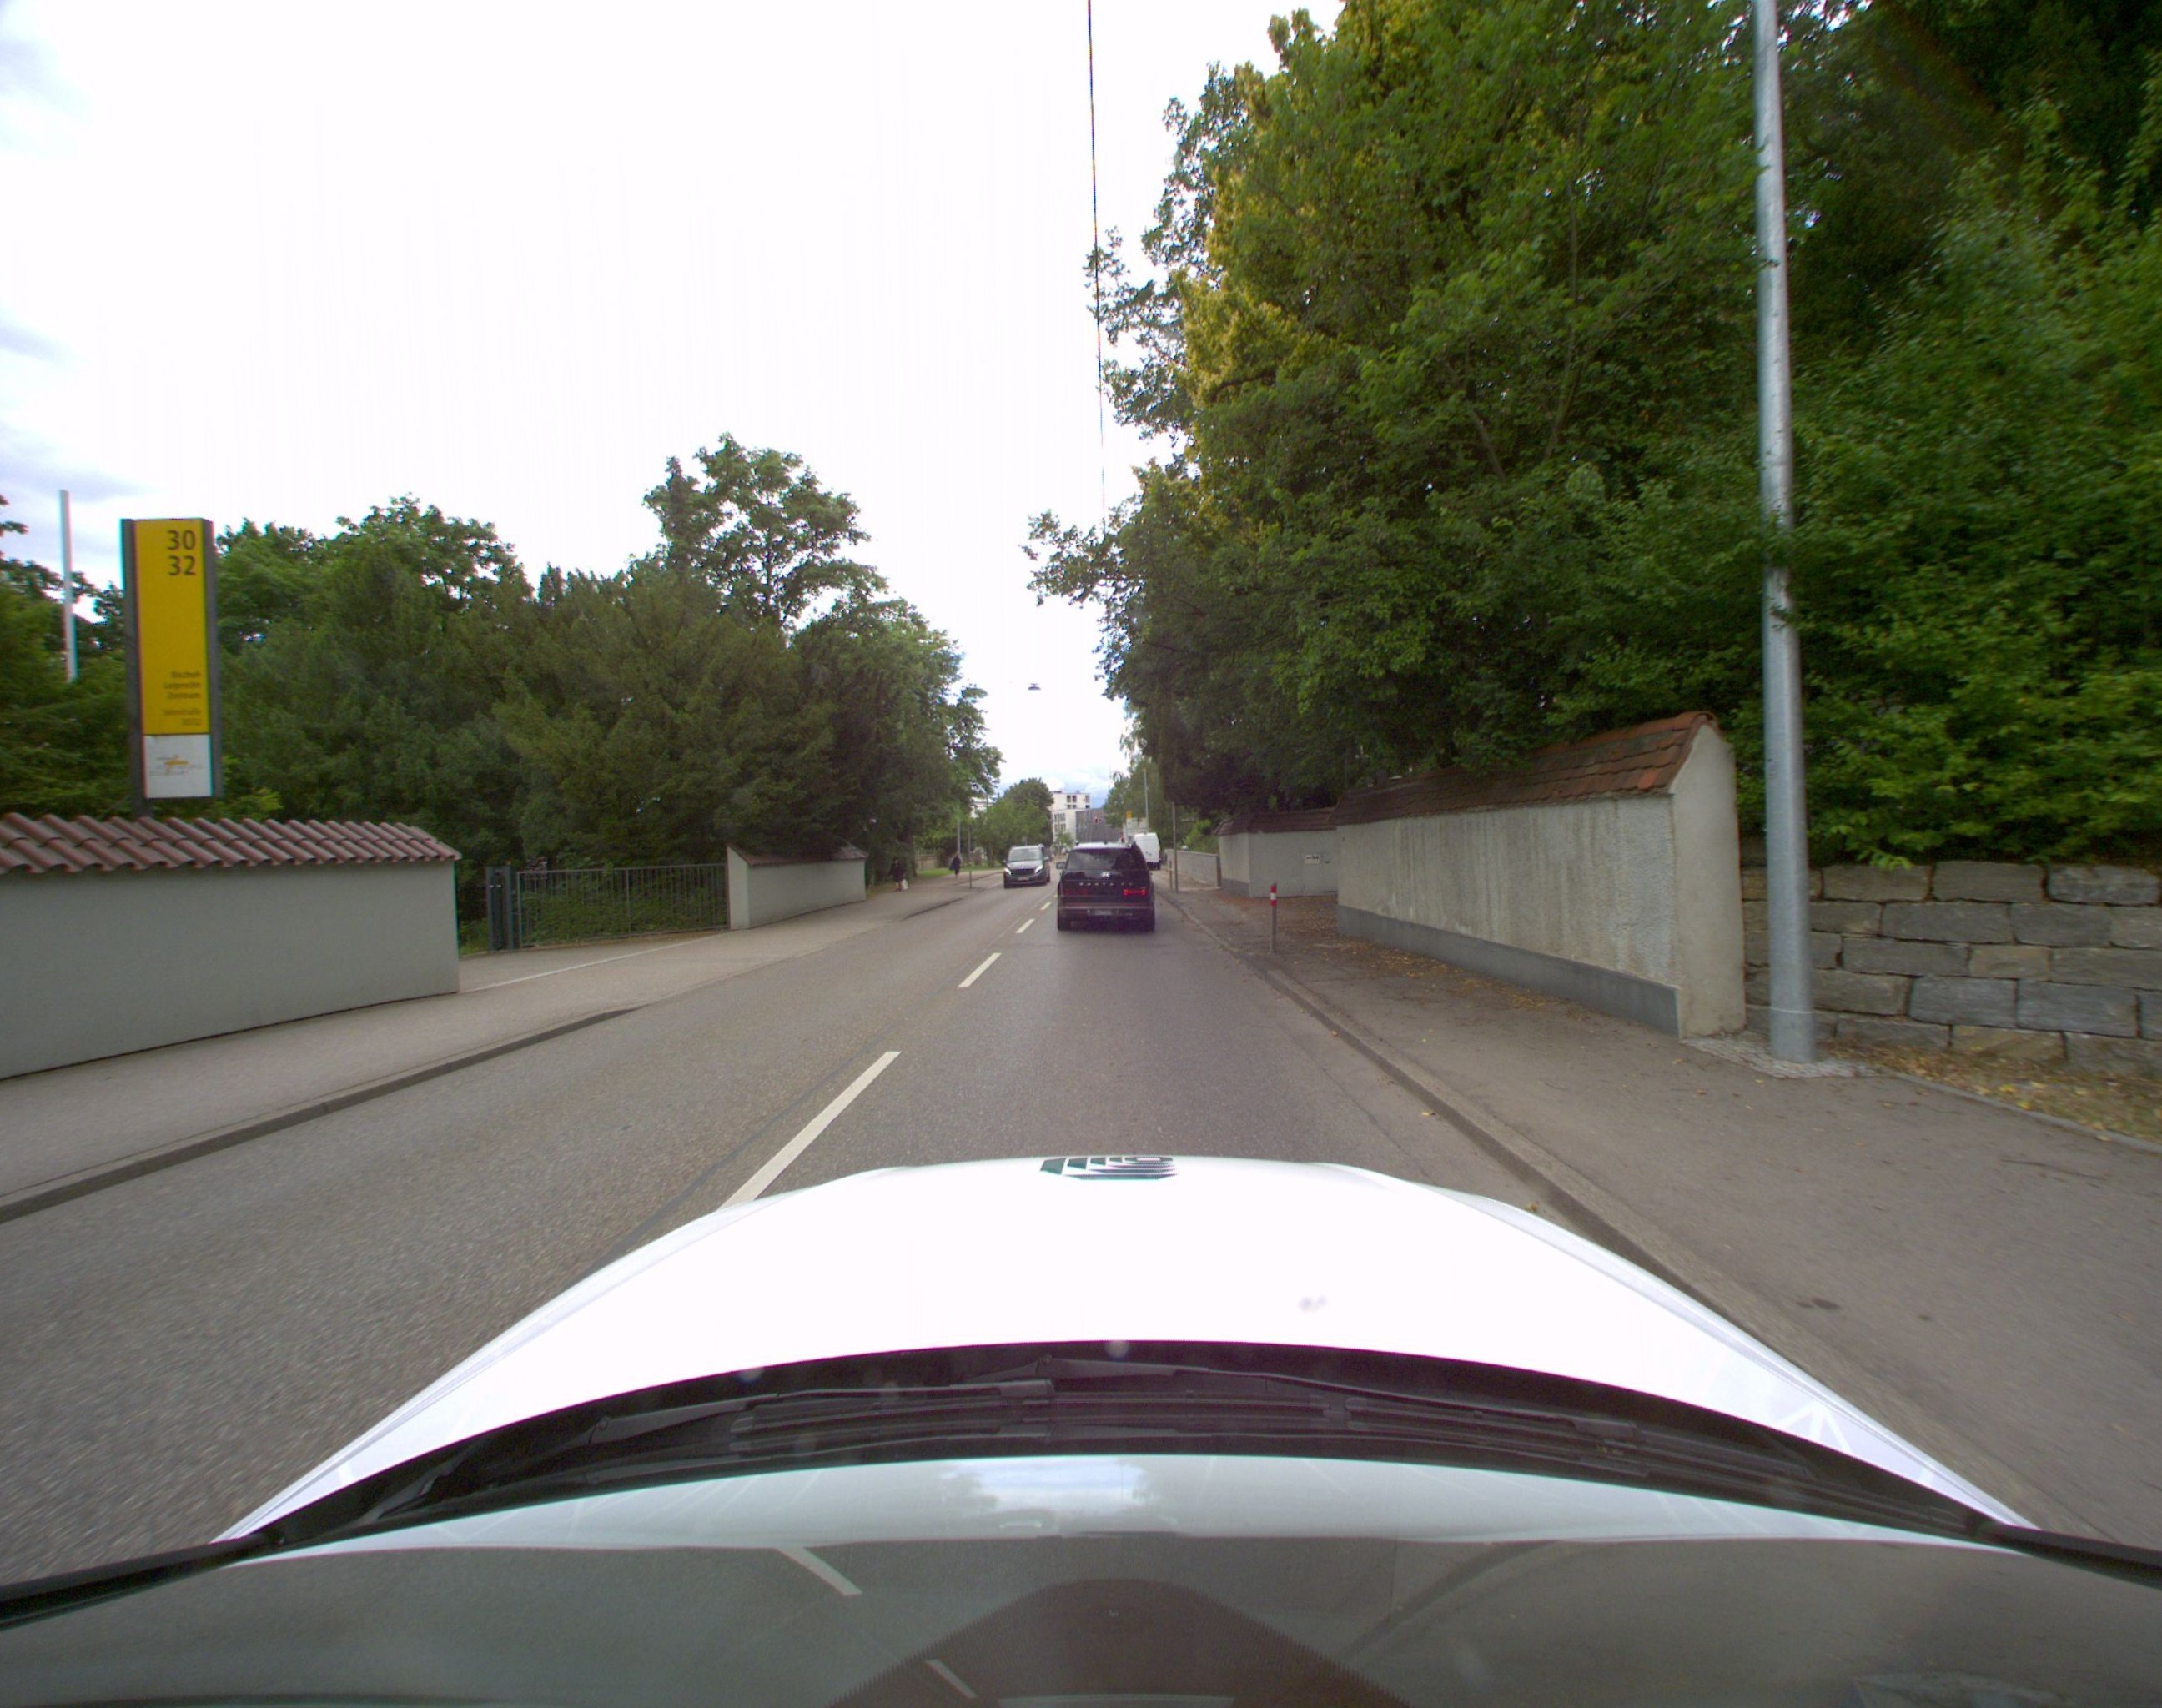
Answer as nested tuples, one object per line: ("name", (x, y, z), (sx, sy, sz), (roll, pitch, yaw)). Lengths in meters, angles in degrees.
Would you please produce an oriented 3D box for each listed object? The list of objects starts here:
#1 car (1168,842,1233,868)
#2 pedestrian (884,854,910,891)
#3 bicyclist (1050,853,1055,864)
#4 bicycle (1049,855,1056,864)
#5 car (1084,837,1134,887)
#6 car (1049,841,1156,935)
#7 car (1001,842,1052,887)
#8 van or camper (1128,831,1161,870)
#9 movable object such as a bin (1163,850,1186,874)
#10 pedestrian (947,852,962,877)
("car", (8.393, 0.094, 57.459), (4.376, 1.652, 1.831), (-2, 0, 2))
("pedestrian", (-8.096, 0.808, 35.824), (0.923, 1.560, 0.901), (1, -2, -3))
("bicyclist", (-4.255, 0.695, 121.977), (0.676, 1.659, 0.855), (0, -2, -12))
("bicycle", (-4.256, 0.824, 121.945), (0.675, 1.279, 2.490), (0, -2, -12))
("car", (1.148, 0.317, 34.420), (1.957, 2.001, 4.001), (0, 0, 1))
("car", (0.468, 0.615, 16.917), (1.956, 1.711, 4.002), (0, 0, 2))
("car", (-2.516, 0.470, 38.709), (1.884, 1.855, 5.083), (-5, 0, 1))
("van or camper", (4.640, -0.272, 60.286), (1.957, 2.627, 6.360), (-4, 0, 1))
("movable object such as a bin", (5.889, 0.483, 51.384), (1.295, 1.450, 1.181), (-2, 0, 1))
("pedestrian", (-7.998, 0.679, 51.546), (0.746, 1.578, 0.967), (0, 0, 1))
